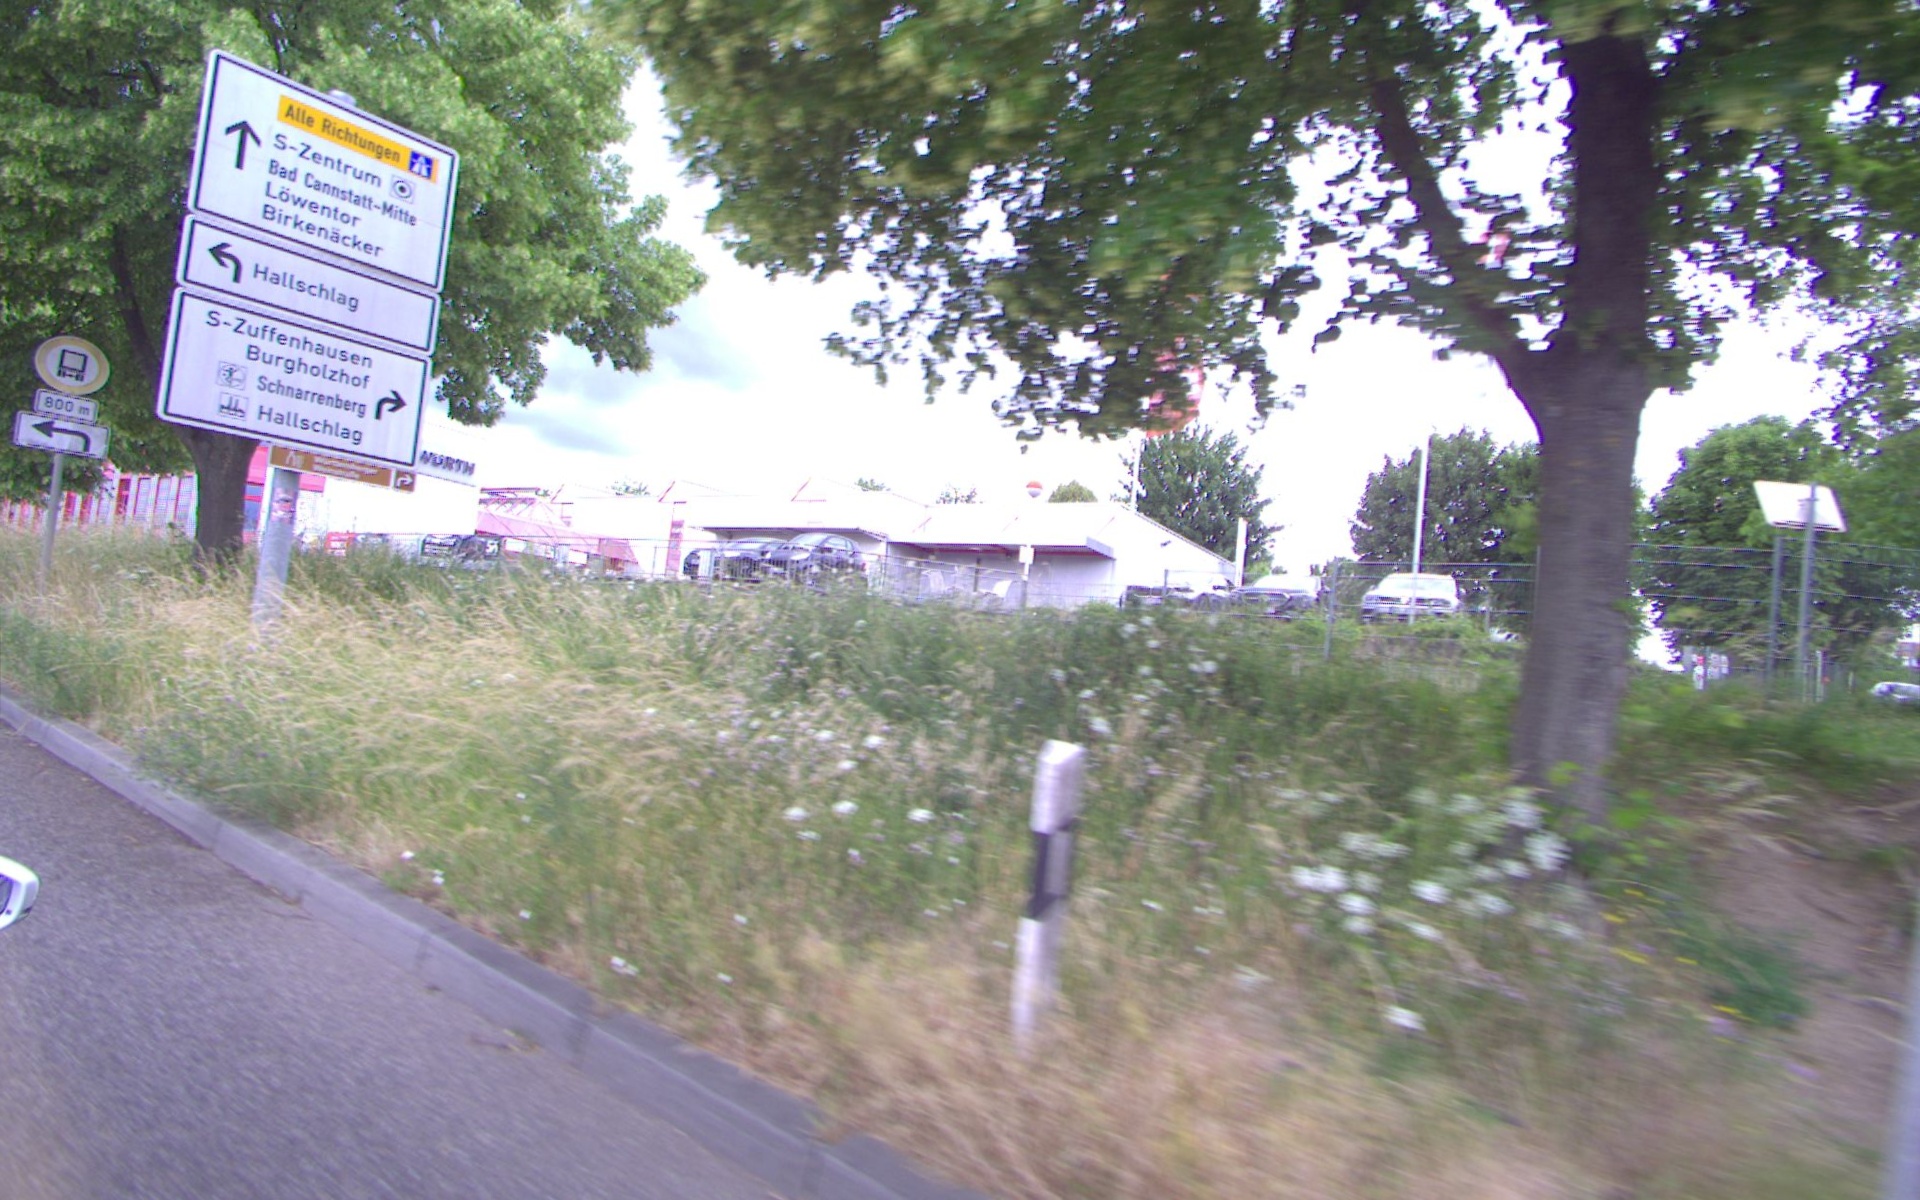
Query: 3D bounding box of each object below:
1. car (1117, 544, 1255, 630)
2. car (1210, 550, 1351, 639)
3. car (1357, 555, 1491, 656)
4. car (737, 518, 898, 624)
[{"bbox_3d":[5.405,-0.271,23.761,1.728,1.379,3.760,6,-4,36],"label":"car"},{"bbox_3d":[7.220,-0.076,22.435,1.728,1.383,3.931,6,-3,36],"label":"car"},{"bbox_3d":[9.874,0.159,21.249,1.728,1.498,3.931,6,-4,36],"label":"car"},{"bbox_3d":[-3.465,-0.667,25.081,1.618,1.980,3.760,6,-3,36],"label":"car"}]
